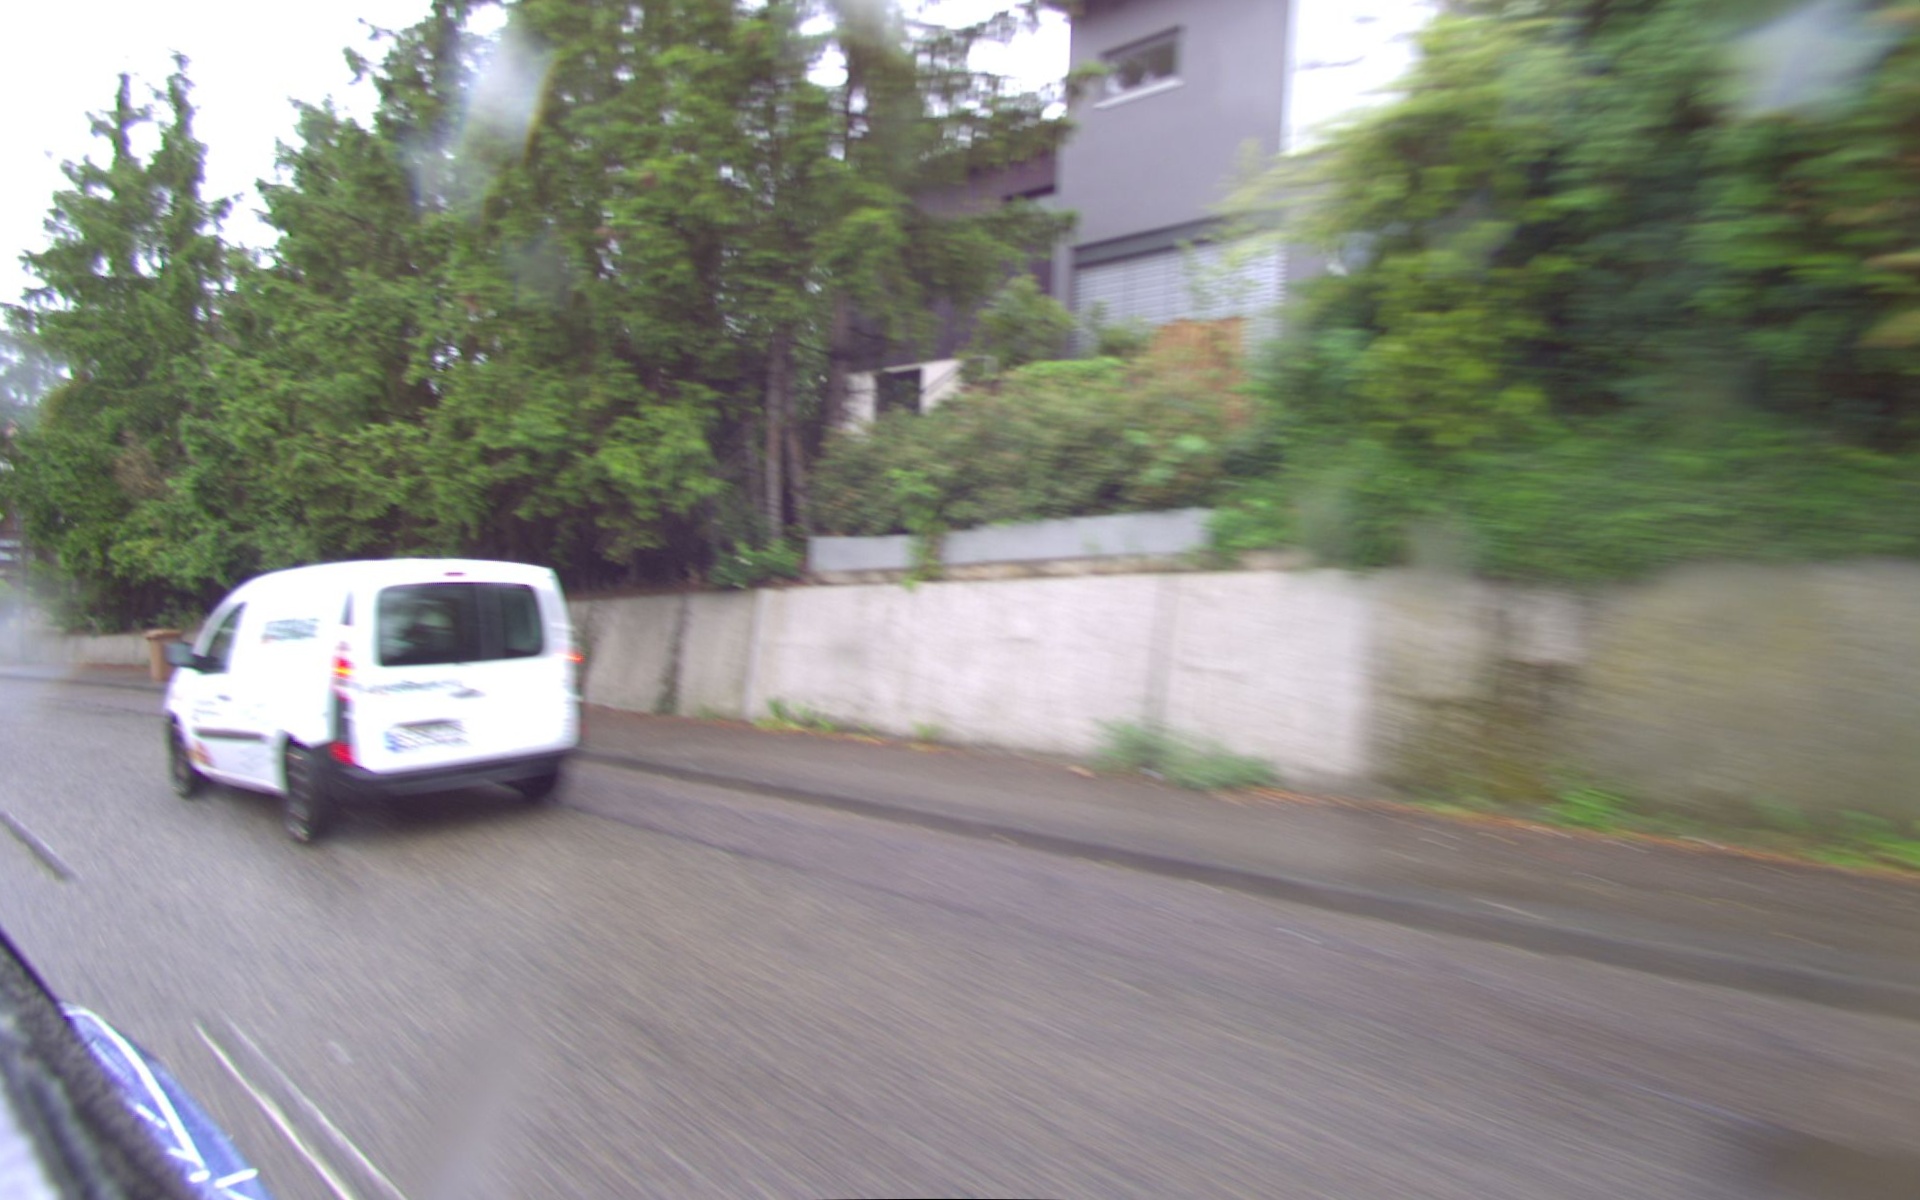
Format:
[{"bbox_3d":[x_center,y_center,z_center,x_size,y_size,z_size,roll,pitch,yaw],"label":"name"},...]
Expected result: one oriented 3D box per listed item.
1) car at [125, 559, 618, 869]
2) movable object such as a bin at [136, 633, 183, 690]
[{"bbox_3d":[-4.734,0.658,7.862,4.415,1.768,1.822,-1,1,39],"label":"car"},{"bbox_3d":[-14.744,1.121,18.643,0.488,0.986,0.496,-1,3,32],"label":"movable object such as a bin"}]
